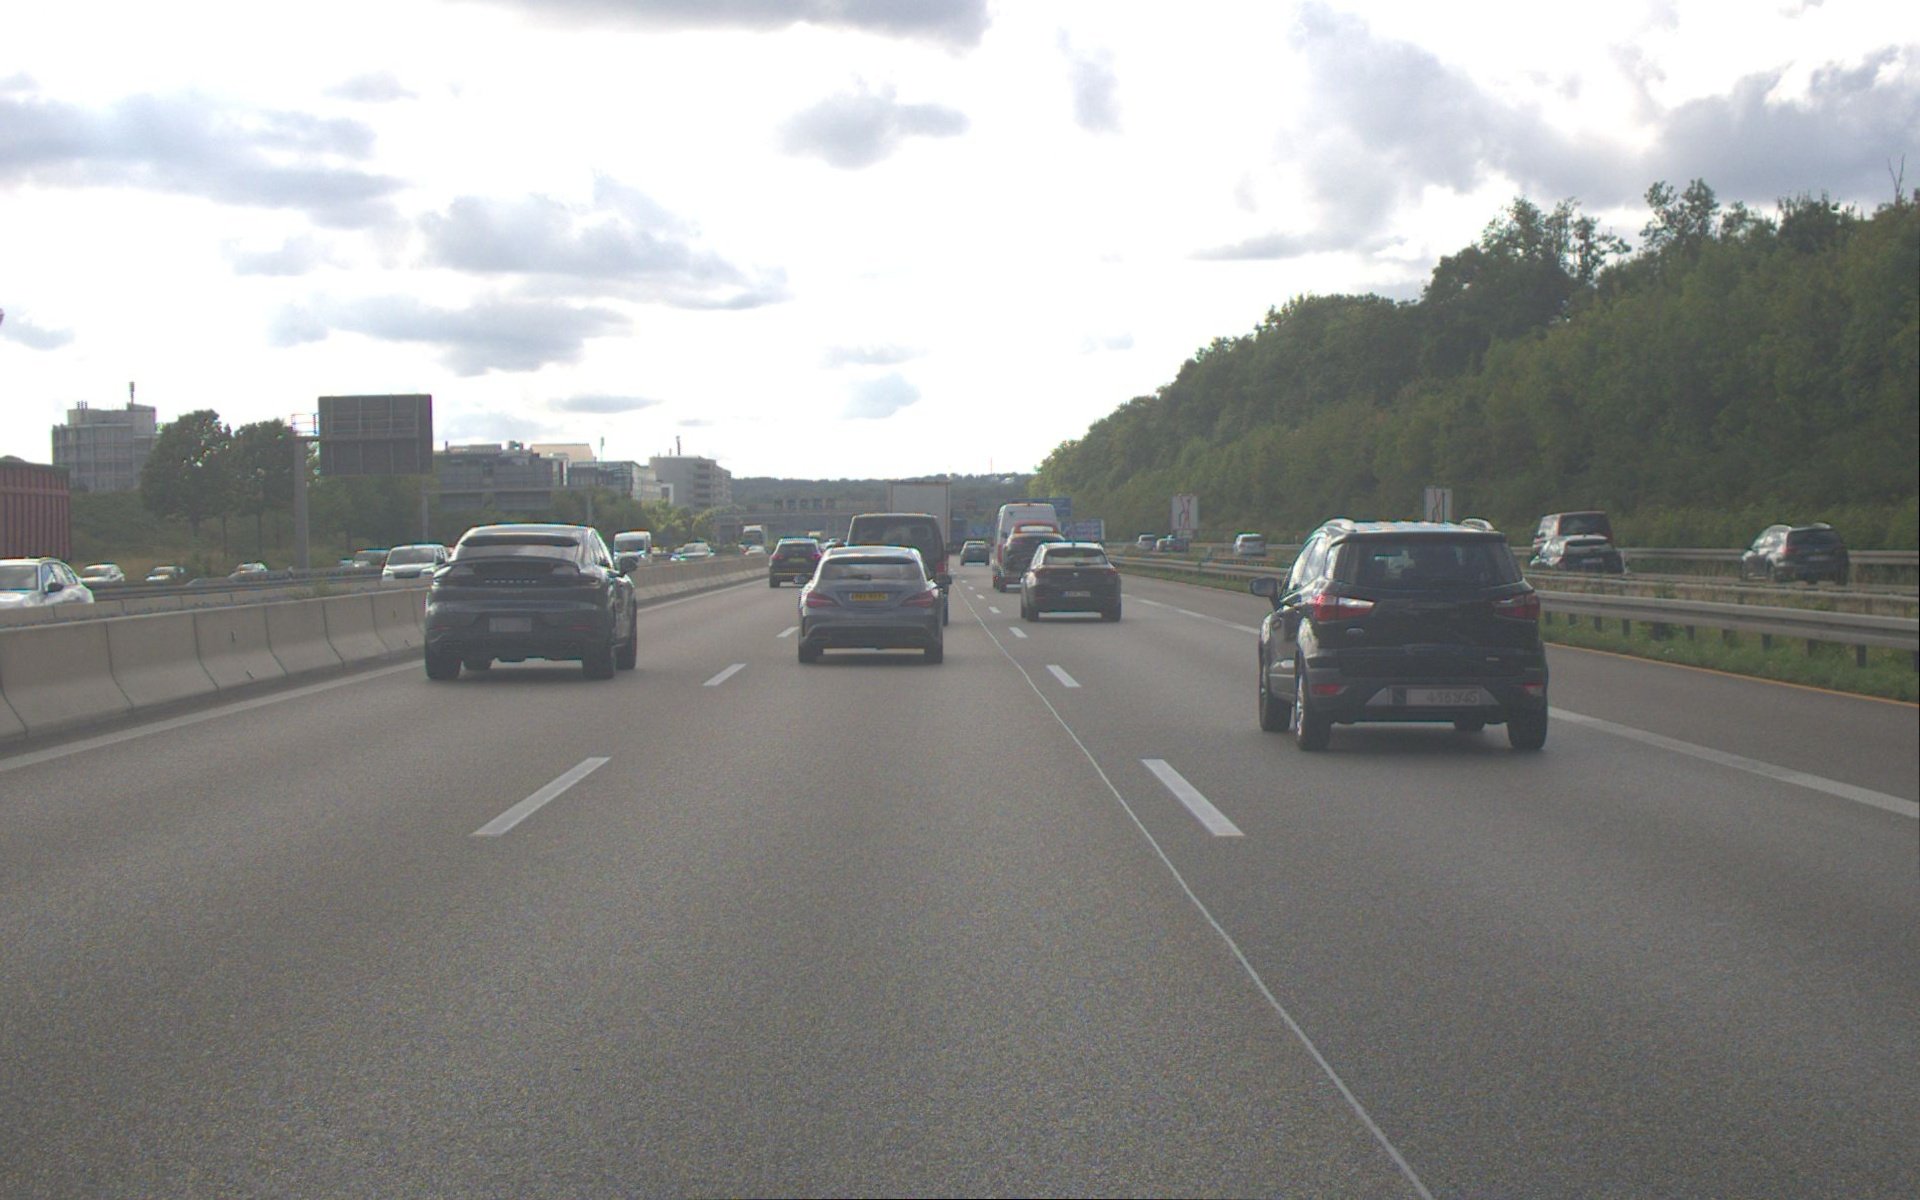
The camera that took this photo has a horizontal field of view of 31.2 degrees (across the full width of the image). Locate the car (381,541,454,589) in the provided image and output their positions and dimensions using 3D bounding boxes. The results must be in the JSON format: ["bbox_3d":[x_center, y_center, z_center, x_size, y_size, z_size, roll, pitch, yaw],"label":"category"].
[{"bbox_3d":[-17.985,-1.179,114.174,1.763,1.527,4.943,0,1,-1],"label":"car"}]

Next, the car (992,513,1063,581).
[{"bbox_3d":[1.938,-1.552,99.792,1.913,1.912,4.031,0,1,-1],"label":"car"}]

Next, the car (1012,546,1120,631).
[{"bbox_3d":[1.946,-0.240,64.251,1.832,1.516,4.225,0,1,-1],"label":"car"}]

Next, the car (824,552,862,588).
[{"bbox_3d":[-5.349,-1.410,158.035,1.697,1.605,4.114,0,1,-1],"label":"car"}]

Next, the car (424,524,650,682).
[{"bbox_3d":[-4.643,-0.022,38.445,1.912,1.630,5.500,0,1,-1],"label":"car"}]

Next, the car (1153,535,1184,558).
[{"bbox_3d":[14.070,-3.633,232.407,1.729,1.528,4.453,-1,1,-1],"label":"car"}]

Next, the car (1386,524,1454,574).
[{"bbox_3d":[16.063,-1.791,120.243,1.752,1.689,4.190,0,1,-1],"label":"car"}]

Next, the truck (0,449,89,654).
[{"bbox_3d":[-21.628,-1.056,75.234,3.046,4.274,8.589,-1,1,-1],"label":"truck"}]

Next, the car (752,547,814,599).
[{"bbox_3d":[-5.781,-0.898,112.719,1.873,1.692,4.072,0,1,-1],"label":"car"}]

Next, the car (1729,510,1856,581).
[{"bbox_3d":[19.371,-1.284,80.159,1.728,1.540,4.306,-2,1,-2],"label":"car"}]

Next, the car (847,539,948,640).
[{"bbox_3d":[-1.105,-0.217,61.385,1.720,1.718,4.392,0,1,-1],"label":"car"}]

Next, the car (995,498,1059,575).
[{"bbox_3d":[2.063,-1.975,106.994,1.873,2.349,4.282,0,1,-1],"label":"car"}]

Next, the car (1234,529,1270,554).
[{"bbox_3d":[18.155,-3.646,213.861,1.752,1.511,4.191,0,1,-2],"label":"car"}]

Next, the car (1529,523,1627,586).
[{"bbox_3d":[15.586,-1.155,86.872,1.595,1.540,4.191,0,1,-2],"label":"car"}]

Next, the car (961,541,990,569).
[{"bbox_3d":[0.961,-2.783,212.867,1.752,1.689,4.190,0,1,-1],"label":"car"}]

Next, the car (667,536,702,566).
[{"bbox_3d":[-16.094,-2.866,200.964,1.763,1.725,4.703,1,1,-1],"label":"car"}]

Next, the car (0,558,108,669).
[{"bbox_3d":[-13.677,0.165,49.562,1.688,1.499,4.643,-1,1,-1],"label":"car"}]

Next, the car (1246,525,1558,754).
[{"bbox_3d":[3.197,0.234,25.560,1.697,1.559,4.114,0,1,-1],"label":"car"}]

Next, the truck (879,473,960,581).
[{"bbox_3d":[-1.696,-3.075,145.306,3.263,4.360,11.027,1,1,-1],"label":"truck"}]

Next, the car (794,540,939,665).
[{"bbox_3d":[-1.139,-0.013,43.078,1.720,1.474,4.392,0,1,-1],"label":"car"}]

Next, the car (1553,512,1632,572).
[{"bbox_3d":[19.548,-1.792,106.393,1.595,1.797,3.825,0,1,-2],"label":"car"}]

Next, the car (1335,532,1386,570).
[{"bbox_3d":[18.236,-2.236,156.643,1.752,1.689,4.190,0,1,-1],"label":"car"}]
